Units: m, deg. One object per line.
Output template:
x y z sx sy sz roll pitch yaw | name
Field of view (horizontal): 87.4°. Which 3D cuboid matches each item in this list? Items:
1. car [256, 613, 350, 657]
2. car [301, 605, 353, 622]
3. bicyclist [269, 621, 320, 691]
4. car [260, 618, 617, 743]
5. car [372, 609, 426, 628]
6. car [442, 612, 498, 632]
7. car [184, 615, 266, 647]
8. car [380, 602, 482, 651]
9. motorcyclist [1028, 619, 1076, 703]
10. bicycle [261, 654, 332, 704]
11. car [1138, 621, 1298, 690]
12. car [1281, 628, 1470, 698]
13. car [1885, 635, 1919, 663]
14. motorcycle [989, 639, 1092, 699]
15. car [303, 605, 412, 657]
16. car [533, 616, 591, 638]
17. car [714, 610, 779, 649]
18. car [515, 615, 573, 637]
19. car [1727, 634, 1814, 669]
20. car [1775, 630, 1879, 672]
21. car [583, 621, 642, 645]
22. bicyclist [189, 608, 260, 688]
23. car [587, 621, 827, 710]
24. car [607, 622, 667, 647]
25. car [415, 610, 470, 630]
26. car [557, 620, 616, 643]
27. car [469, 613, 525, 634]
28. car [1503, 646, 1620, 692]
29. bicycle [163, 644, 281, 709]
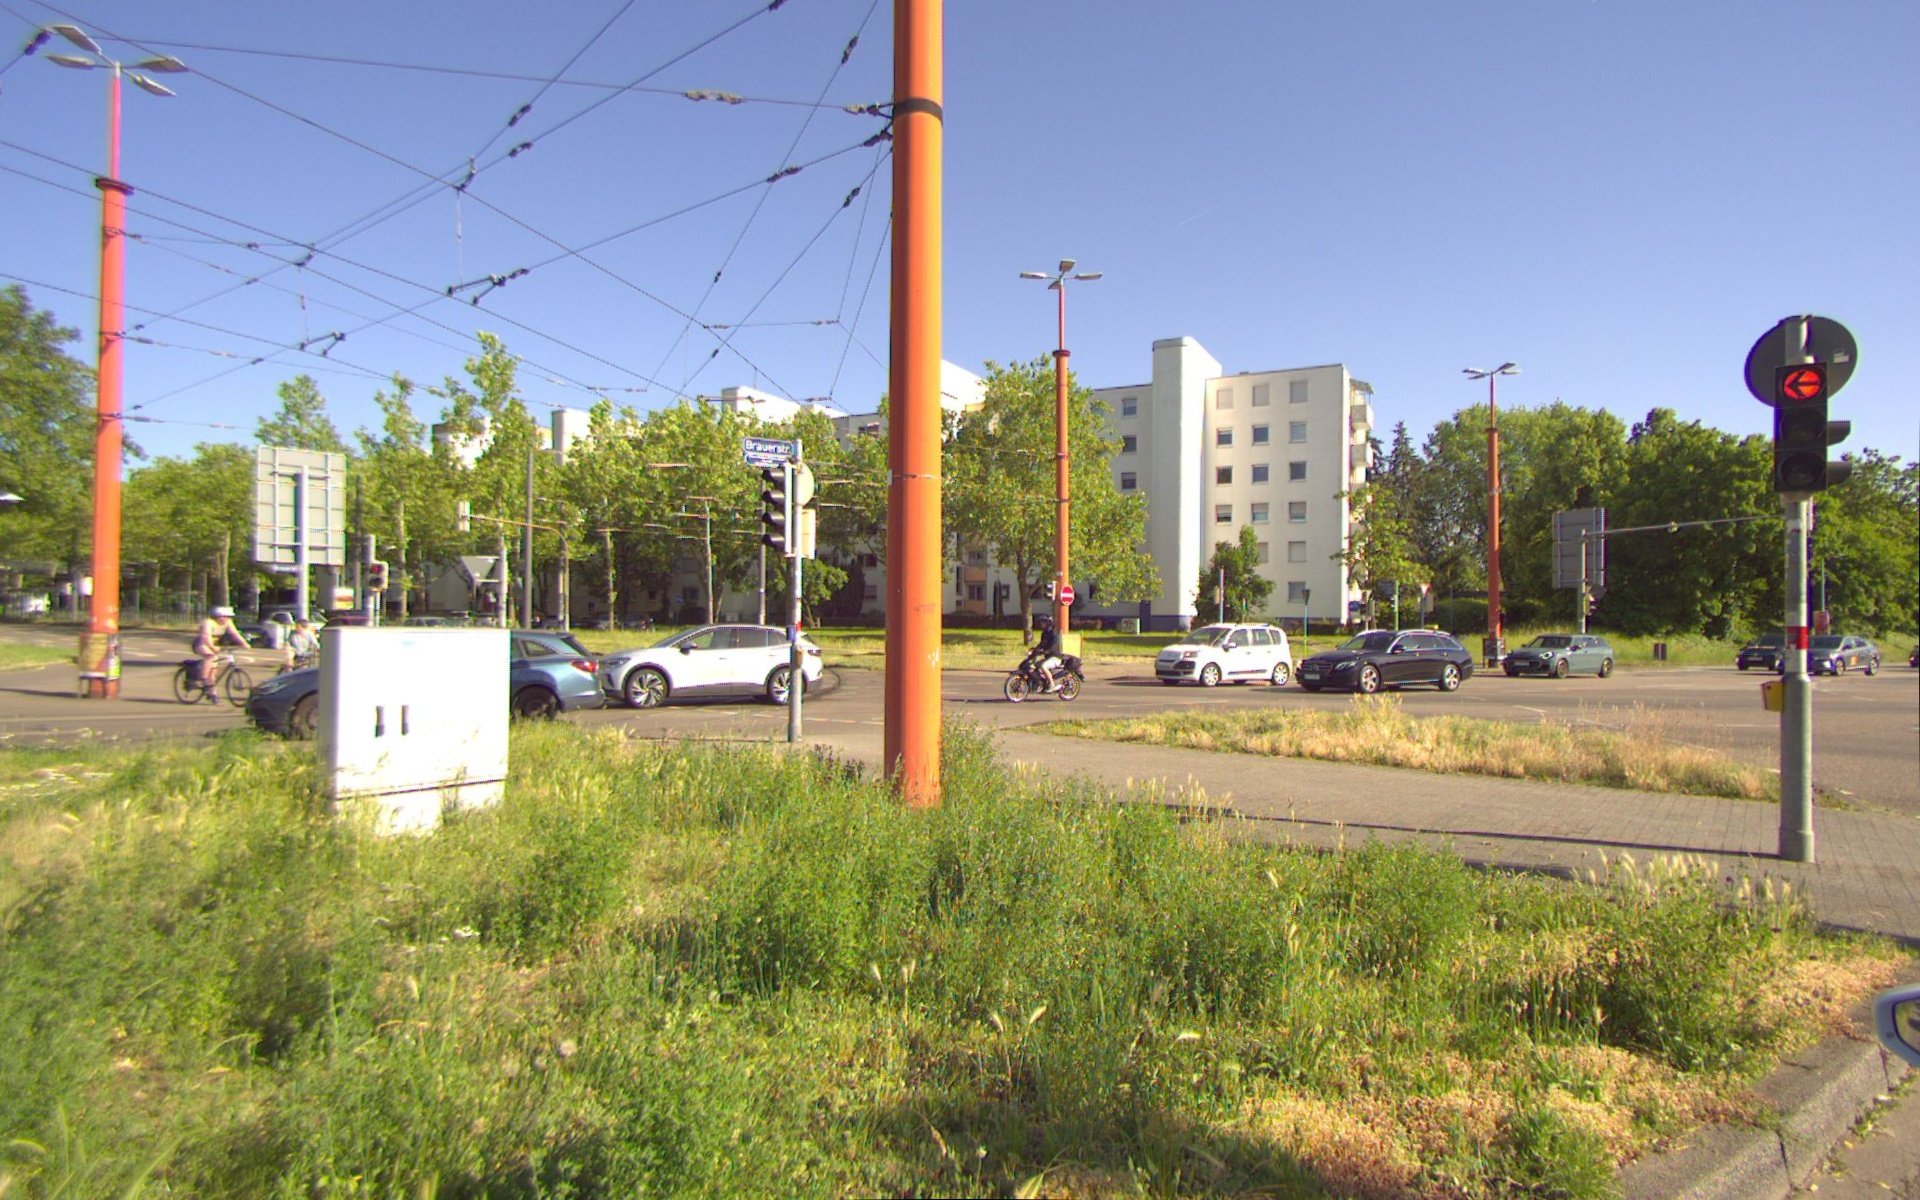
-28.960 1.518 44.257 3.929 1.773 1.909 1 0 31 | car
-63.528 1.384 100.834 3.934 1.617 1.890 2 0 -15 | car
-13.219 1.102 19.955 0.687 1.340 0.548 1 0 25 | bicyclist
-7.544 1.116 14.938 4.406 1.615 1.986 1 -2 -27 | car
-50.985 1.648 91.391 3.934 1.617 1.890 2 0 -15 | car
-41.750 1.853 85.652 3.934 1.617 1.890 2 0 -15 | car
-34.677 1.457 47.365 3.930 1.339 1.732 1 0 31 | car
-22.951 1.112 43.565 4.200 1.926 1.996 1 0 31 | car
1.848 1.216 20.209 0.631 1.621 0.833 2 0 -21 | motorcyclist
-13.154 1.558 19.905 1.595 0.894 0.368 1 0 25 | bicycle
6.931 1.457 26.925 4.010 1.730 1.793 2 -2 -29 | car
10.135 1.496 24.413 4.551 1.505 1.867 2 0 -30 | car
47.265 2.425 49.540 3.571 1.290 1.446 2 0 -31 | car
1.617 1.382 20.134 2.065 1.146 0.420 2 0 -22 | motorcycle
-24.279 1.222 40.443 4.200 1.926 1.996 1 0 31 | car
-30.767 2.088 77.765 3.934 1.617 1.890 2 0 -15 | car
-13.833 1.906 65.037 3.934 2.341 1.890 2 0 -15 | car
-32.847 2.045 79.409 3.934 1.617 1.890 2 0 -15 | car
34.595 2.203 42.839 3.838 1.452 1.538 2 -3 -29 | car
31.296 1.817 36.233 4.211 1.395 1.541 1 -1 -30 | car
-25.662 2.413 74.217 3.934 1.617 1.890 2 0 -15 | car
-13.858 0.896 18.938 0.742 1.449 0.752 1 0 15 | bicyclist
-5.043 1.274 20.118 4.381 1.622 1.832 2 -2 -27 | car
-23.173 2.465 72.238 3.934 1.617 1.890 2 0 -15 | car
-45.120 1.777 87.628 3.934 1.617 1.890 2 0 -15 | car
-28.126 2.358 75.678 3.934 1.617 1.890 2 0 -15 | car
-38.551 1.926 83.770 3.934 1.617 1.890 2 0 -15 | car
20.016 2.270 33.412 4.088 1.406 1.424 2 0 -28 | car
-13.947 1.418 18.974 2.313 1.095 0.474 1 0 17 | bicycle
